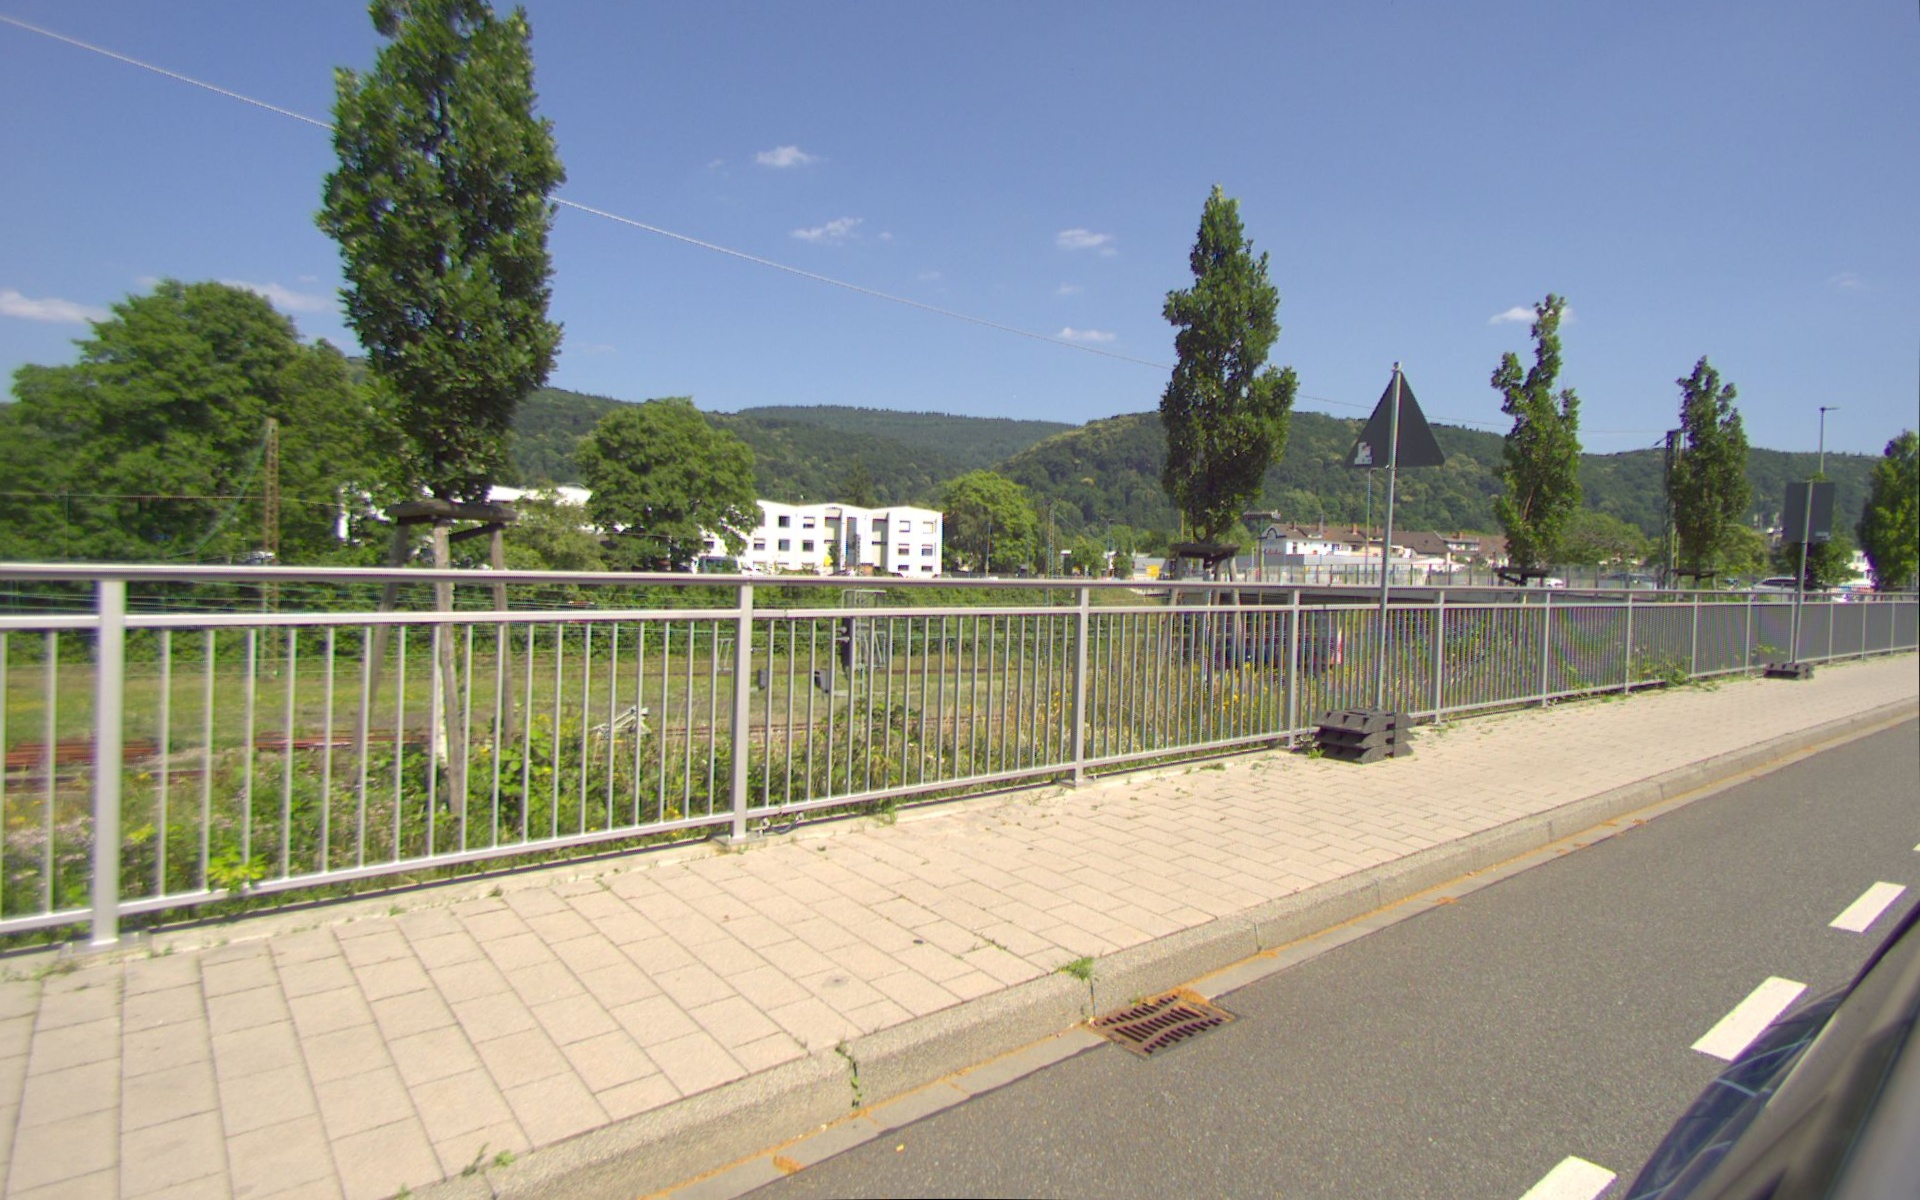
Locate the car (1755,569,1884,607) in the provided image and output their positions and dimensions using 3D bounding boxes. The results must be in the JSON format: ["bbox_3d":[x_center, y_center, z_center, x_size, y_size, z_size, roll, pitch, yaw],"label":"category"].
[{"bbox_3d":[43.661,-0.642,51.571,1.958,1.740,4.644,1,2,-16],"label":"car"}]

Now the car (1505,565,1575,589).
[{"bbox_3d":[41.901,-1.709,73.236,1.700,1.646,4.453,1,2,-15],"label":"car"}]

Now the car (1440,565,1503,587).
[{"bbox_3d":[40.144,-1.897,79.542,1.700,1.646,4.453,1,1,-19],"label":"car"}]

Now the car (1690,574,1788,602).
[{"bbox_3d":[45.352,-0.705,59.071,1.700,1.487,4.420,1,2,-13],"label":"car"}]

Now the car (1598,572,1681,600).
[{"bbox_3d":[44.042,-0.949,65.677,1.700,1.646,4.452,1,2,-13],"label":"car"}]

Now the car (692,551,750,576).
[{"bbox_3d":[-22.318,-3.402,94.699,4.893,2.138,2.002,0,2,-32],"label":"car"}]
